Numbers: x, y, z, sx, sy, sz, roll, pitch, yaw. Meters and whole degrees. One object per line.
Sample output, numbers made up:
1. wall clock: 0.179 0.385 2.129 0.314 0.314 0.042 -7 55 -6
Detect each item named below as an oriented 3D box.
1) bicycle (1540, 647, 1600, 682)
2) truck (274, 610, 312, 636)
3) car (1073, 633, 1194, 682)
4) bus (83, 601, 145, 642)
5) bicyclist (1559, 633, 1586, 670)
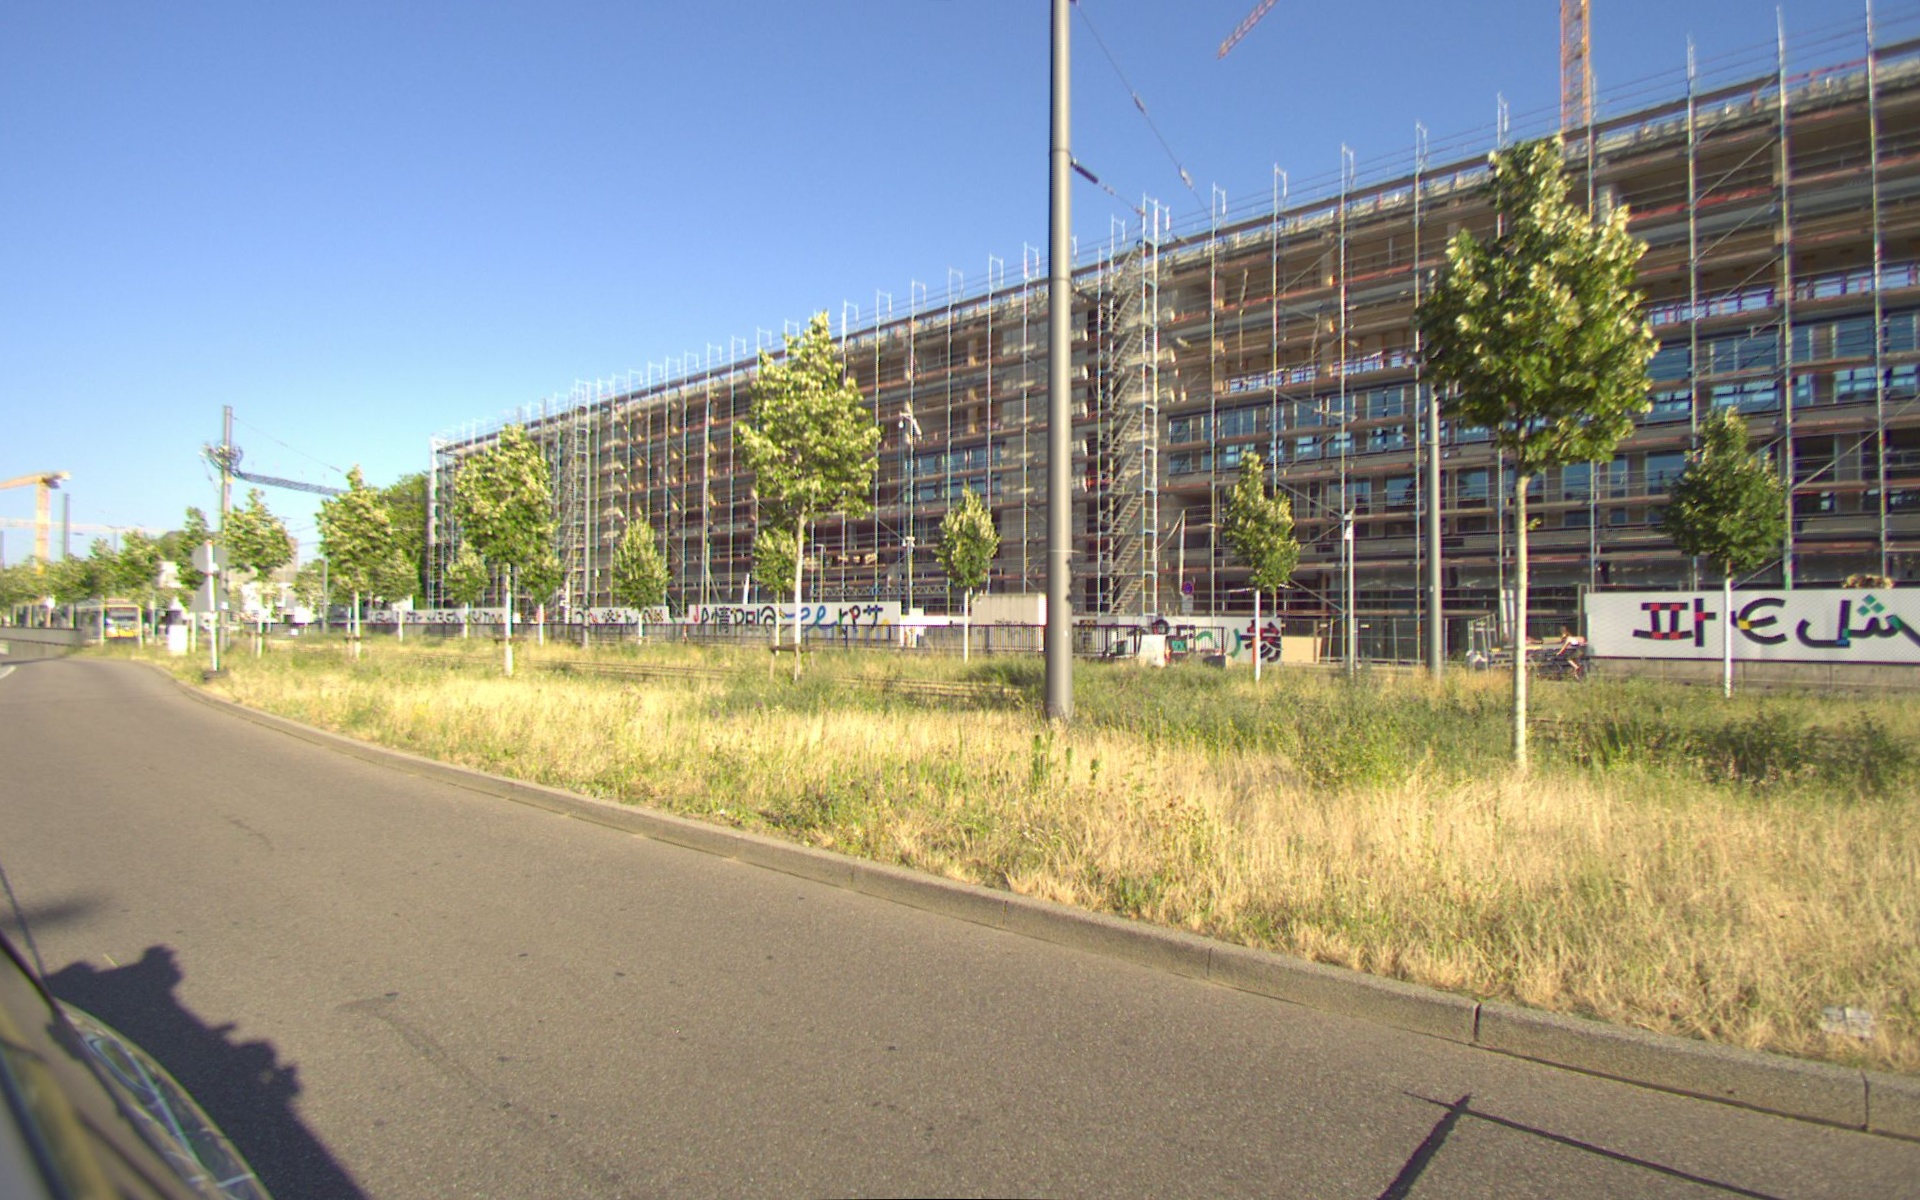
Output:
1. bicycle: 19.414 2.034 32.204 1.564 1.069 0.473 -1 -2 42
2. truck: -68.130 2.341 103.326 4.740 2.593 2.114 -2 -3 43
3. car: 5.900 1.925 34.619 3.840 1.570 1.587 -1 -3 42
4. bus: -70.929 1.826 84.799 8.652 3.247 2.688 -2 -2 41
5. bicyclist: 19.495 1.629 32.210 0.638 1.163 0.473 -1 -2 41
